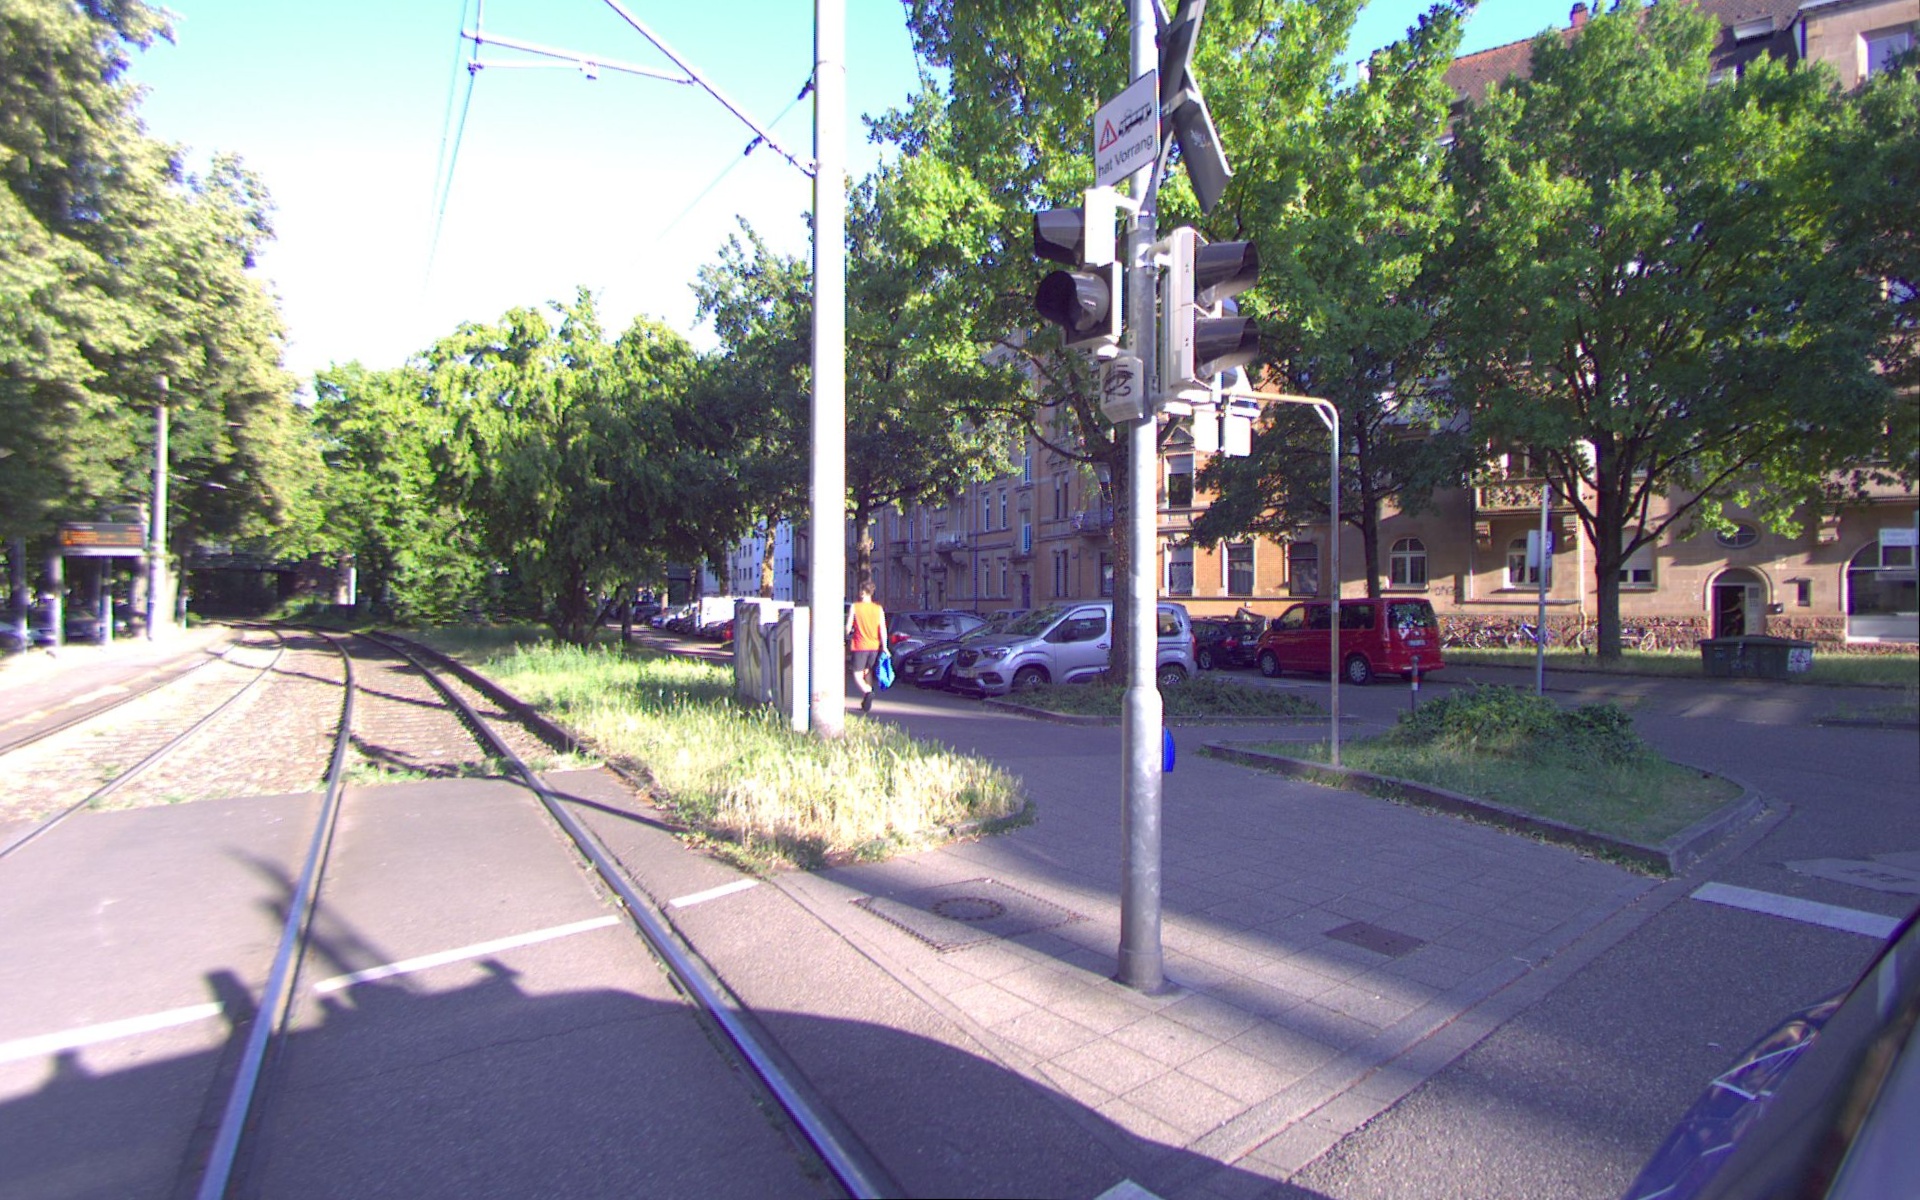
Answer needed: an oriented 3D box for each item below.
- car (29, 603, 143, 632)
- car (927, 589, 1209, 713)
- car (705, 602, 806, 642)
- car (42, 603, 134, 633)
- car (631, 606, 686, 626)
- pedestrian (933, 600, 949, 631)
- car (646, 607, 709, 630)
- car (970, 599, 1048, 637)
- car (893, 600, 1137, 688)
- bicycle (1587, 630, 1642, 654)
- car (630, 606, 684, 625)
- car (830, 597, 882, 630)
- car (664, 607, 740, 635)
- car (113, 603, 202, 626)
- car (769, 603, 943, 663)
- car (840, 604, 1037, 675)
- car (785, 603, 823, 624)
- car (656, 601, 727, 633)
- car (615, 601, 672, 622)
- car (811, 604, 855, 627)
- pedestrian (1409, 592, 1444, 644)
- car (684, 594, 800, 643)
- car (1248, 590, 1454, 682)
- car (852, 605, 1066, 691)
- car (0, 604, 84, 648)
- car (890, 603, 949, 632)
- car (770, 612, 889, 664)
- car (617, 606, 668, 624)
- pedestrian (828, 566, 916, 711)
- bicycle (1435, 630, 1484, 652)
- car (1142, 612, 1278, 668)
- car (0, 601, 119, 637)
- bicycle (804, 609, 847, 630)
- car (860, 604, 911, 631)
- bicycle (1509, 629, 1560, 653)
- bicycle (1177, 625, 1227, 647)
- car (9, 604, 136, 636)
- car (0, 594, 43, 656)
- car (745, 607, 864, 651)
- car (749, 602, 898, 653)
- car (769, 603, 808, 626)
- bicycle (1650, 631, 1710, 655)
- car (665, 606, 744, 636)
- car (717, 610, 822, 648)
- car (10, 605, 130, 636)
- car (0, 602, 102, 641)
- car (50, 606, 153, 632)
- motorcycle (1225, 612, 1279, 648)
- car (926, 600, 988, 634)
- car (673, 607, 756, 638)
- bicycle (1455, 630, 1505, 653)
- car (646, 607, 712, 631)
[{"bbox_3d":[-41.879,0.847,48.538,3.923,1.295,1.748,1,-1,-1],"label":"car"},{"bbox_3d":[1.868,0.817,17.638,4.457,1.938,1.954,1,0,-20],"label":"car"},{"bbox_3d":[-8.746,0.937,43.258,3.917,1.600,1.769,1,-1,-24],"label":"car"},{"bbox_3d":[-54.134,1.105,62.917,3.916,1.789,1.751,1,-1,-15],"label":"car"},{"bbox_3d":[-23.939,1.260,80.330,4.047,1.541,1.687,1,-1,-22],"label":"car"},{"bbox_3d":[-1.065,0.856,57.683,0.661,1.740,0.723,-1,0,-22],"label":"pedestrian"},{"bbox_3d":[-19.181,1.262,68.721,3.916,1.508,1.687,1,-1,-22],"label":"car"},{"bbox_3d":[2.011,0.732,42.538,1.654,1.494,3.888,-2,0,-24],"label":"car"},{"bbox_3d":[1.086,0.829,20.252,4.457,1.592,1.954,1,0,-20],"label":"car"},{"bbox_3d":[21.416,1.368,33.147,1.499,0.741,0.364,0,-1,32],"label":"bicycle"},{"bbox_3d":[-25.440,1.307,84.850,4.177,1.508,1.687,1,-1,-22],"label":"car"},{"bbox_3d":[-6.499,0.801,62.568,1.873,1.906,4.733,-1,0,-23],"label":"car"},{"bbox_3d":[-14.532,1.185,57.037,3.916,1.508,1.687,1,-1,-22],"label":"car"},{"bbox_3d":[-48.405,0.848,61.072,3.923,1.295,1.748,1,-1,-1],"label":"car"},{"bbox_3d":[-2.998,0.934,29.152,4.616,1.592,2.004,1,0,-20],"label":"car"},{"bbox_3d":[-0.549,0.941,24.985,4.457,1.592,1.954,1,0,-20],"label":"car"},{"bbox_3d":[-11.850,1.022,76.633,1.843,1.459,4.400,-2,0,-23],"label":"car"},{"bbox_3d":[-16.285,1.046,61.325,3.916,1.856,1.687,1,-1,-22],"label":"car"},{"bbox_3d":[-30.061,1.123,96.131,4.992,1.865,1.836,1,-1,-22],"label":"car"},{"bbox_3d":[-8.561,1.007,67.939,1.843,1.459,4.400,-2,0,-23],"label":"car"},{"bbox_3d":[15.653,0.603,33.951,0.906,1.740,0.667,-2,-1,36],"label":"pedestrian"},{"bbox_3d":[-9.848,0.849,45.726,4.758,2.064,2.159,1,-1,-22],"label":"car"},{"bbox_3d":[9.229,0.786,24.379,1.745,1.958,4.781,-1,0,-23],"label":"car"},{"bbox_3d":[-0.012,1.003,22.573,4.359,1.712,1.953,1,0,-28],"label":"car"},{"bbox_3d":[-30.007,0.774,31.327,4.200,1.295,1.809,1,-1,0],"label":"car"},{"bbox_3d":[-2.159,0.888,52.769,1.732,1.401,4.298,-2,0,-21],"label":"car"},{"bbox_3d":[-4.069,1.165,31.475,3.338,1.534,1.722,1,-1,-20],"label":"car"},{"bbox_3d":[-27.369,1.302,87.225,4.047,1.508,1.687,1,-1,-22],"label":"car"},{"bbox_3d":[-1.256,0.532,14.277,0.886,1.943,1.152,2,-1,-22],"label":"pedestrian"},{"bbox_3d":[17.489,1.429,35.434,1.499,0.741,0.364,0,-1,32],"label":"bicycle"},{"bbox_3d":[7.211,1.103,29.629,1.745,1.452,4.279,-2,0,-20],"label":"car"},{"bbox_3d":[-34.962,0.716,38.800,3.923,1.295,1.748,1,-1,-1],"label":"car"},{"bbox_3d":[-9.826,1.425,73.844,2.981,1.503,0.819,1,-1,-22],"label":"bicycle"},{"bbox_3d":[-4.246,0.962,57.390,1.732,1.456,3.895,-2,0,-23],"label":"car"},{"bbox_3d":[19.404,1.384,34.195,1.499,0.741,0.364,0,-1,32],"label":"bicycle"},{"bbox_3d":[9.733,1.448,40.776,1.884,0.859,0.519,-1,-2,33],"label":"bicycle"},{"bbox_3d":[-38.638,0.858,44.114,3.923,1.295,1.748,1,-1,-1],"label":"car"},{"bbox_3d":[-29.020,0.665,28.850,4.203,1.717,1.808,1,-1,3],"label":"car"},{"bbox_3d":[-5.625,1.044,36.563,3.916,1.479,1.687,1,-1,-22],"label":"car"},{"bbox_3d":[-4.602,0.917,34.049,4.616,1.592,2.004,1,0,-20],"label":"car"},{"bbox_3d":[-12.451,1.004,73.254,1.843,1.555,4.400,-2,0,-23],"label":"car"},{"bbox_3d":[22.830,1.370,32.095,1.498,0.741,0.364,-2,-2,32],"label":"bicycle"},{"bbox_3d":[-13.732,1.134,54.359,3.916,1.508,1.687,1,-1,-22],"label":"car"},{"bbox_3d":[-7.757,1.174,41.159,3.916,1.441,1.687,1,-1,-22],"label":"car"},{"bbox_3d":[-40.781,0.926,46.447,3.923,1.295,1.748,1,-1,-1],"label":"car"},{"bbox_3d":[-33.588,0.763,36.415,3.923,1.295,1.748,1,-1,-1],"label":"car"},{"bbox_3d":[-45.380,0.999,53.533,3.923,1.295,1.748,1,-1,-1],"label":"car"},{"bbox_3d":[11.394,1.154,39.484,1.884,1.370,0.800,-1,-2,33],"label":"motorcycle"},{"bbox_3d":[-0.201,0.802,47.885,1.654,1.494,3.715,-2,0,-22],"label":"car"},{"bbox_3d":[-12.610,1.157,51.980,3.916,1.508,1.687,1,-1,-22],"label":"car"},{"bbox_3d":[17.855,1.427,34.743,1.499,0.741,0.364,0,-1,32],"label":"bicycle"},{"bbox_3d":[-18.426,1.245,66.349,3.916,1.508,1.687,1,-1,-22],"label":"car"}]
